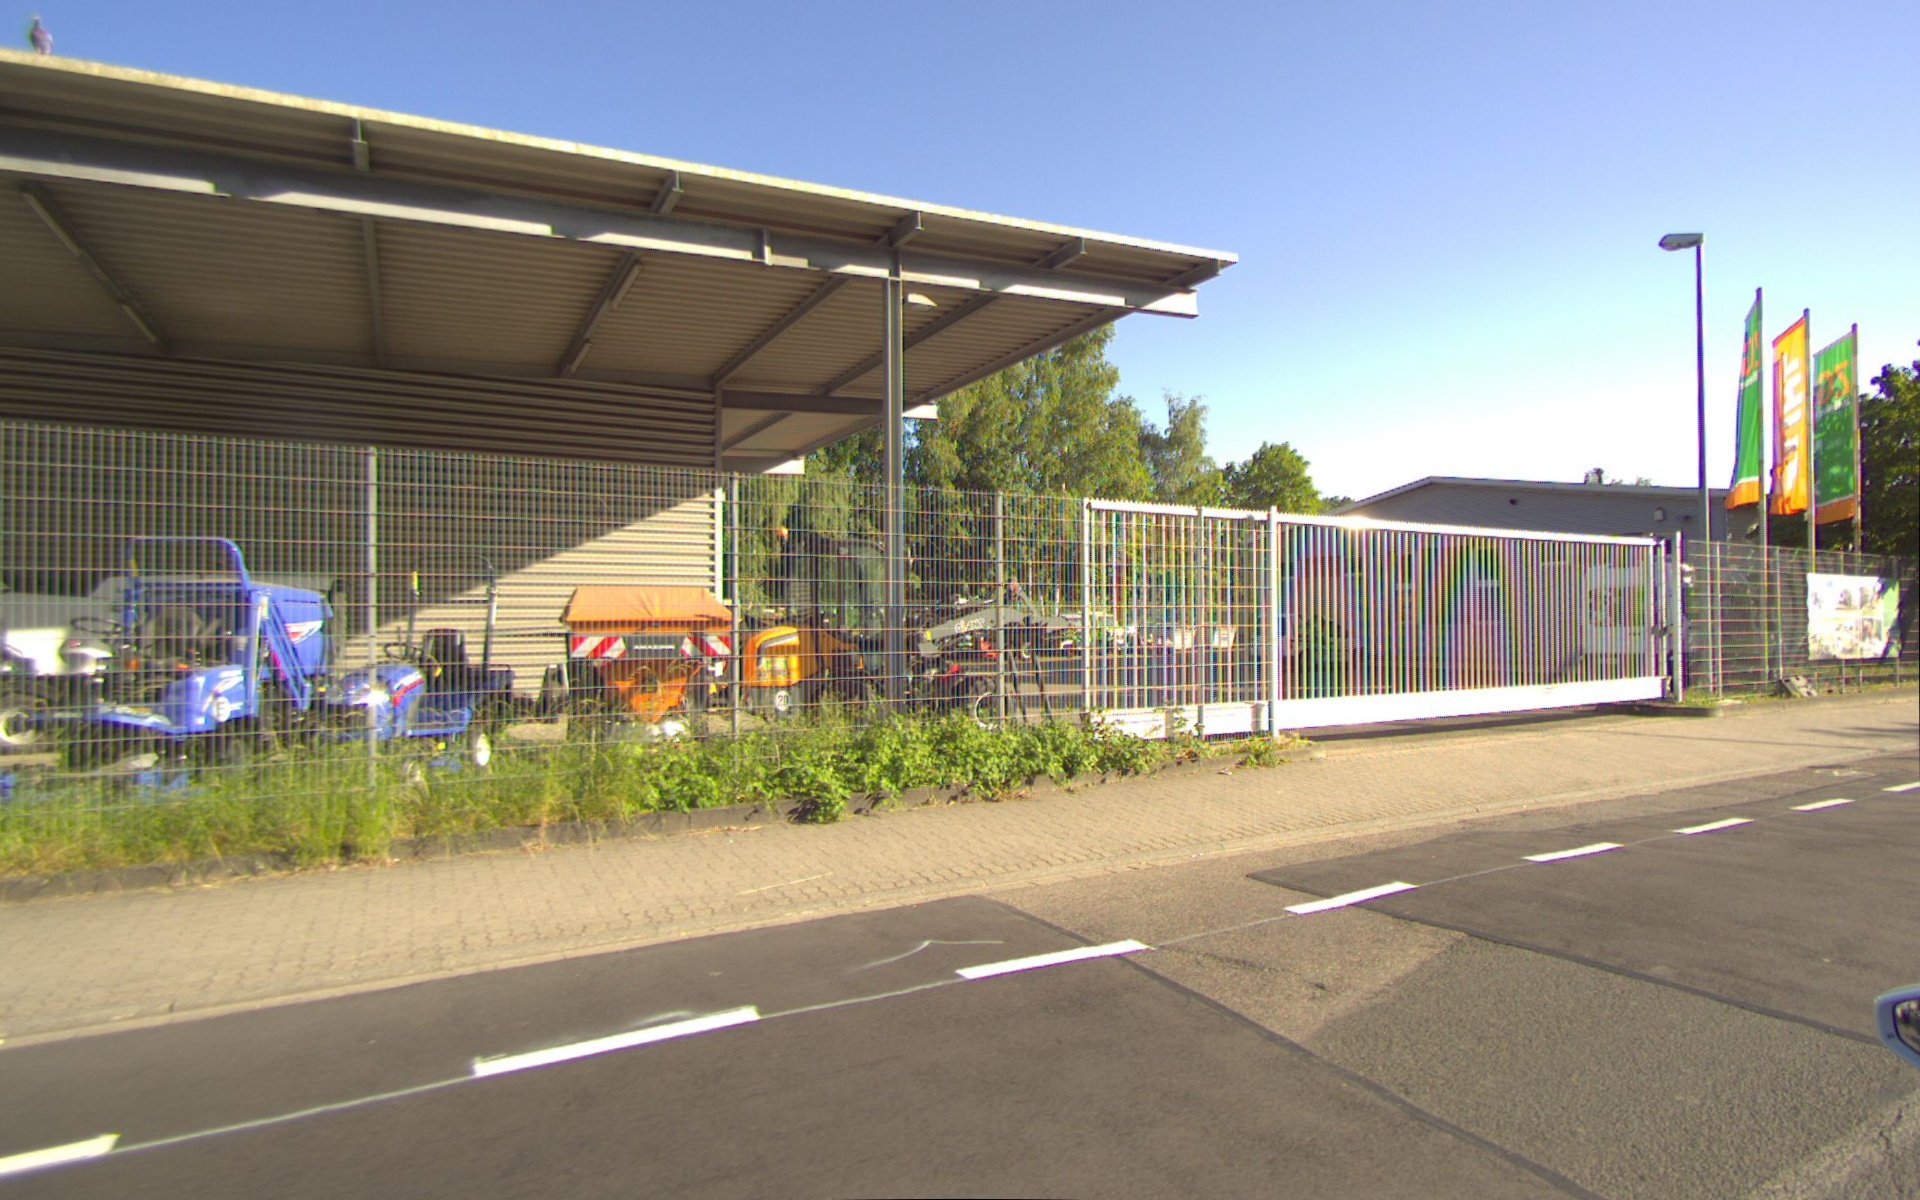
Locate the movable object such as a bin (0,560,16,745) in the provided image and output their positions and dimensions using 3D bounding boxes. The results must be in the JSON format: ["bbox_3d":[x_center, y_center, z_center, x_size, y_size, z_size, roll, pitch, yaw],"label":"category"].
[{"bbox_3d":[-11.932,0.601,10.812,2.286,2.120,1.568,0,-1,-32],"label":"movable object such as a bin"}]

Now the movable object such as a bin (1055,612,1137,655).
[{"bbox_3d":[6.708,1.651,49.878,1.978,2.040,3.966,0,-1,-32],"label":"movable object such as a bin"}]

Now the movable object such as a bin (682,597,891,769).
[{"bbox_3d":[-2.059,0.854,11.456,1.508,1.703,2.625,0,-1,-31],"label":"movable object such as a bin"}]

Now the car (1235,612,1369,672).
[{"bbox_3d":[11.084,1.322,32.519,3.953,1.839,1.984,0,-2,-30],"label":"car"}]

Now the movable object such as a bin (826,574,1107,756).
[{"bbox_3d":[0.097,0.717,12.364,3.063,1.960,1.648,0,-1,-33],"label":"movable object such as a bin"}]

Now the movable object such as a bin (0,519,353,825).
[{"bbox_3d":[-6.616,0.537,8.531,1.358,2.154,2.799,-1,-1,-4],"label":"movable object such as a bin"}]

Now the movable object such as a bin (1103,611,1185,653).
[{"bbox_3d":[9.395,1.644,51.609,1.978,2.040,3.966,0,-1,-32],"label":"movable object such as a bin"}]

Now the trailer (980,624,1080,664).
[{"bbox_3d":[3.054,1.893,43.909,3.951,1.610,1.985,0,-1,-29],"label":"trailer"}]

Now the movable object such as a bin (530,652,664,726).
[{"bbox_3d":[-5.468,1.309,15.128,1.710,0.983,1.095,0,-1,-32],"label":"movable object such as a bin"}]

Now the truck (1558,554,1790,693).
[{"bbox_3d":[16.116,0.522,22.592,5.697,2.798,2.069,0,-2,-30],"label":"truck"}]

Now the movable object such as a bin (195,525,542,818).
[{"bbox_3d":[-5.037,0.560,8.988,1.470,2.177,2.889,-1,-1,-2],"label":"movable object such as a bin"}]

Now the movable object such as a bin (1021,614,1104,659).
[{"bbox_3d":[4.895,1.747,48.546,1.978,2.040,3.966,0,-1,-32],"label":"movable object such as a bin"}]

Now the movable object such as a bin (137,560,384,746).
[{"bbox_3d":[-8.779,0.624,12.813,2.450,2.120,1.568,0,-1,-32],"label":"movable object such as a bin"}]

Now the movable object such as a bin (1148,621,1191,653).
[{"bbox_3d":[11.212,1.971,53.781,1.346,1.693,1.783,0,-1,-32],"label":"movable object such as a bin"}]

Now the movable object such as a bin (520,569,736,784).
[{"bbox_3d":[-3.537,0.698,10.403,1.508,1.859,3.024,0,-1,-31],"label":"movable object such as a bin"}]
